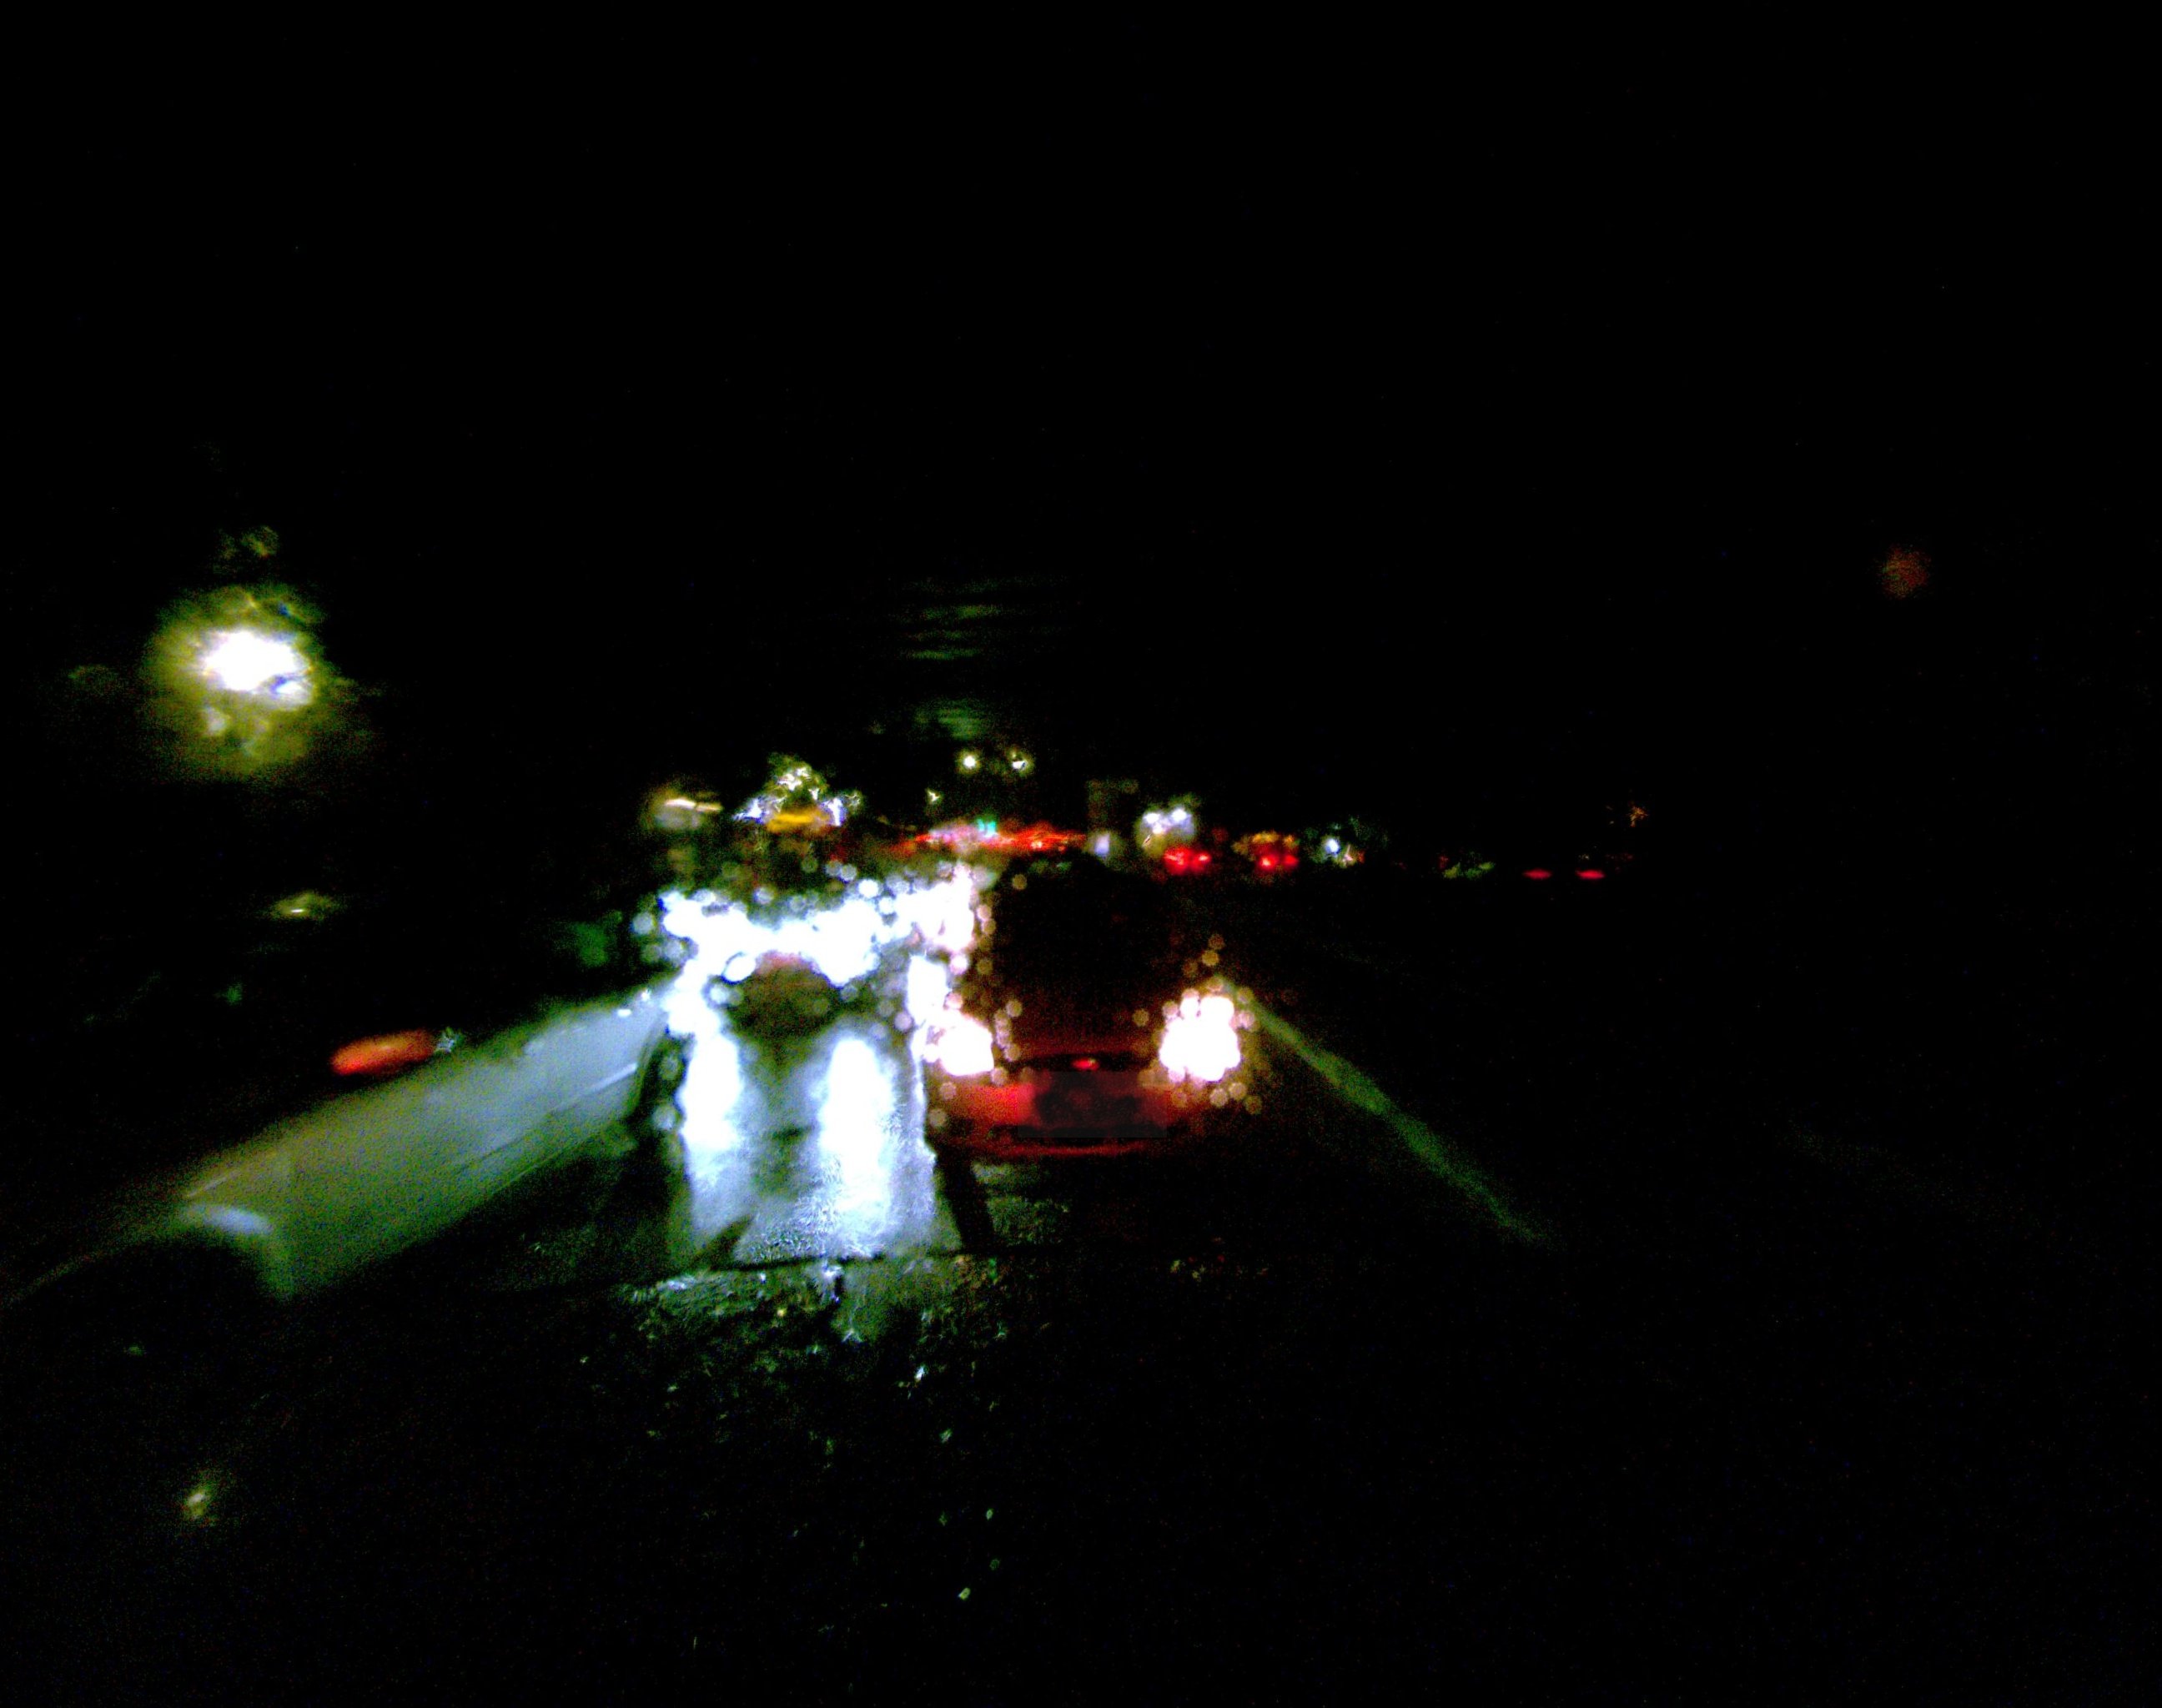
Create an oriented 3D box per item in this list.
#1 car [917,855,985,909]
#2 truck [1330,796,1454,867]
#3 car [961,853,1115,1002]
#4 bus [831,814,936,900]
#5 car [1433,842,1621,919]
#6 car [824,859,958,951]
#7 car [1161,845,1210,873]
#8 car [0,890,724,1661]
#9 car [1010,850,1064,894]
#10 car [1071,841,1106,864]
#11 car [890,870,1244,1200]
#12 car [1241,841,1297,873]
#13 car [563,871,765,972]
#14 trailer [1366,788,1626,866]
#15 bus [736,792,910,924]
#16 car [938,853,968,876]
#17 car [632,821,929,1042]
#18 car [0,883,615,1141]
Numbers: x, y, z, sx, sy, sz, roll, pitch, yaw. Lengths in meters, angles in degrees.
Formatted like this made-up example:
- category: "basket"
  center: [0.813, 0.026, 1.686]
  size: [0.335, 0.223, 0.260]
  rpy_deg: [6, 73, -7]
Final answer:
- category: "car"
  center: [-4.081, 0.823, 24.338]
  size: [1.630, 1.494, 3.998]
  rpy_deg: [-2, 1, -3]
- category: "truck"
  center: [19.793, -1.408, 48.779]
  size: [6.369, 4.152, 3.971]
  rpy_deg: [-2, 1, 6]
- category: "car"
  center: [-0.460, 0.837, 10.634]
  size: [1.683, 1.591, 3.996]
  rpy_deg: [-2, 1, 1]
- category: "bus"
  center: [-8.269, 0.130, 33.181]
  size: [2.777, 3.105, 9.757]
  rpy_deg: [-2, 0, -5]
- category: "car"
  center: [10.581, 0.556, 18.424]
  size: [1.999, 1.596, 3.998]
  rpy_deg: [-2, 1, -4]
- category: "car"
  center: [-3.700, 0.932, 15.488]
  size: [1.869, 1.503, 3.765]
  rpy_deg: [-2, 1, -3]
- category: "car"
  center: [6.120, 0.286, 44.950]
  size: [1.999, 1.510, 3.998]
  rpy_deg: [-2, 1, -5]
- category: "car"
  center: [-3.159, 0.993, 2.710]
  size: [1.792, 1.359, 3.999]
  rpy_deg: [-2, 2, 0]
- category: "car"
  center: [-1.798, 0.648, 29.798]
  size: [1.882, 1.534, 3.997]
  rpy_deg: [-2, 1, -6]
- category: "car"
  center: [0.603, -0.133, 67.314]
  size: [2.001, 1.915, 3.994]
  rpy_deg: [-3, 1, -16]
- category: "car"
  center: [-0.040, 0.894, 5.523]
  size: [1.603, 1.360, 3.942]
  rpy_deg: [-2, 1, 1]
- category: "car"
  center: [10.176, 0.117, 41.364]
  size: [1.822, 1.595, 4.142]
  rpy_deg: [-2, 1, -2]
- category: "car"
  center: [-7.164, 1.075, 13.516]
  size: [1.755, 1.422, 3.758]
  rpy_deg: [-1, 0, -5]
- category: "trailer"
  center: [25.886, -1.642, 48.206]
  size: [13.903, 4.152, 3.971]
  rpy_deg: [-2, 1, 6]
- category: "bus"
  center: [-7.390, 0.107, 23.443]
  size: [2.777, 3.105, 9.757]
  rpy_deg: [-2, 0, -5]
- category: "car"
  center: [-9.070, 0.712, 53.607]
  size: [1.685, 1.463, 3.994]
  rpy_deg: [-3, 1, -15]
- category: "car"
  center: [-3.363, 0.736, 9.593]
  size: [1.999, 2.076, 4.347]
  rpy_deg: [-2, 1, -1]
- category: "car"
  center: [-6.506, 1.061, 6.901]
  size: [1.756, 1.382, 4.566]
  rpy_deg: [-2, 0, -1]
